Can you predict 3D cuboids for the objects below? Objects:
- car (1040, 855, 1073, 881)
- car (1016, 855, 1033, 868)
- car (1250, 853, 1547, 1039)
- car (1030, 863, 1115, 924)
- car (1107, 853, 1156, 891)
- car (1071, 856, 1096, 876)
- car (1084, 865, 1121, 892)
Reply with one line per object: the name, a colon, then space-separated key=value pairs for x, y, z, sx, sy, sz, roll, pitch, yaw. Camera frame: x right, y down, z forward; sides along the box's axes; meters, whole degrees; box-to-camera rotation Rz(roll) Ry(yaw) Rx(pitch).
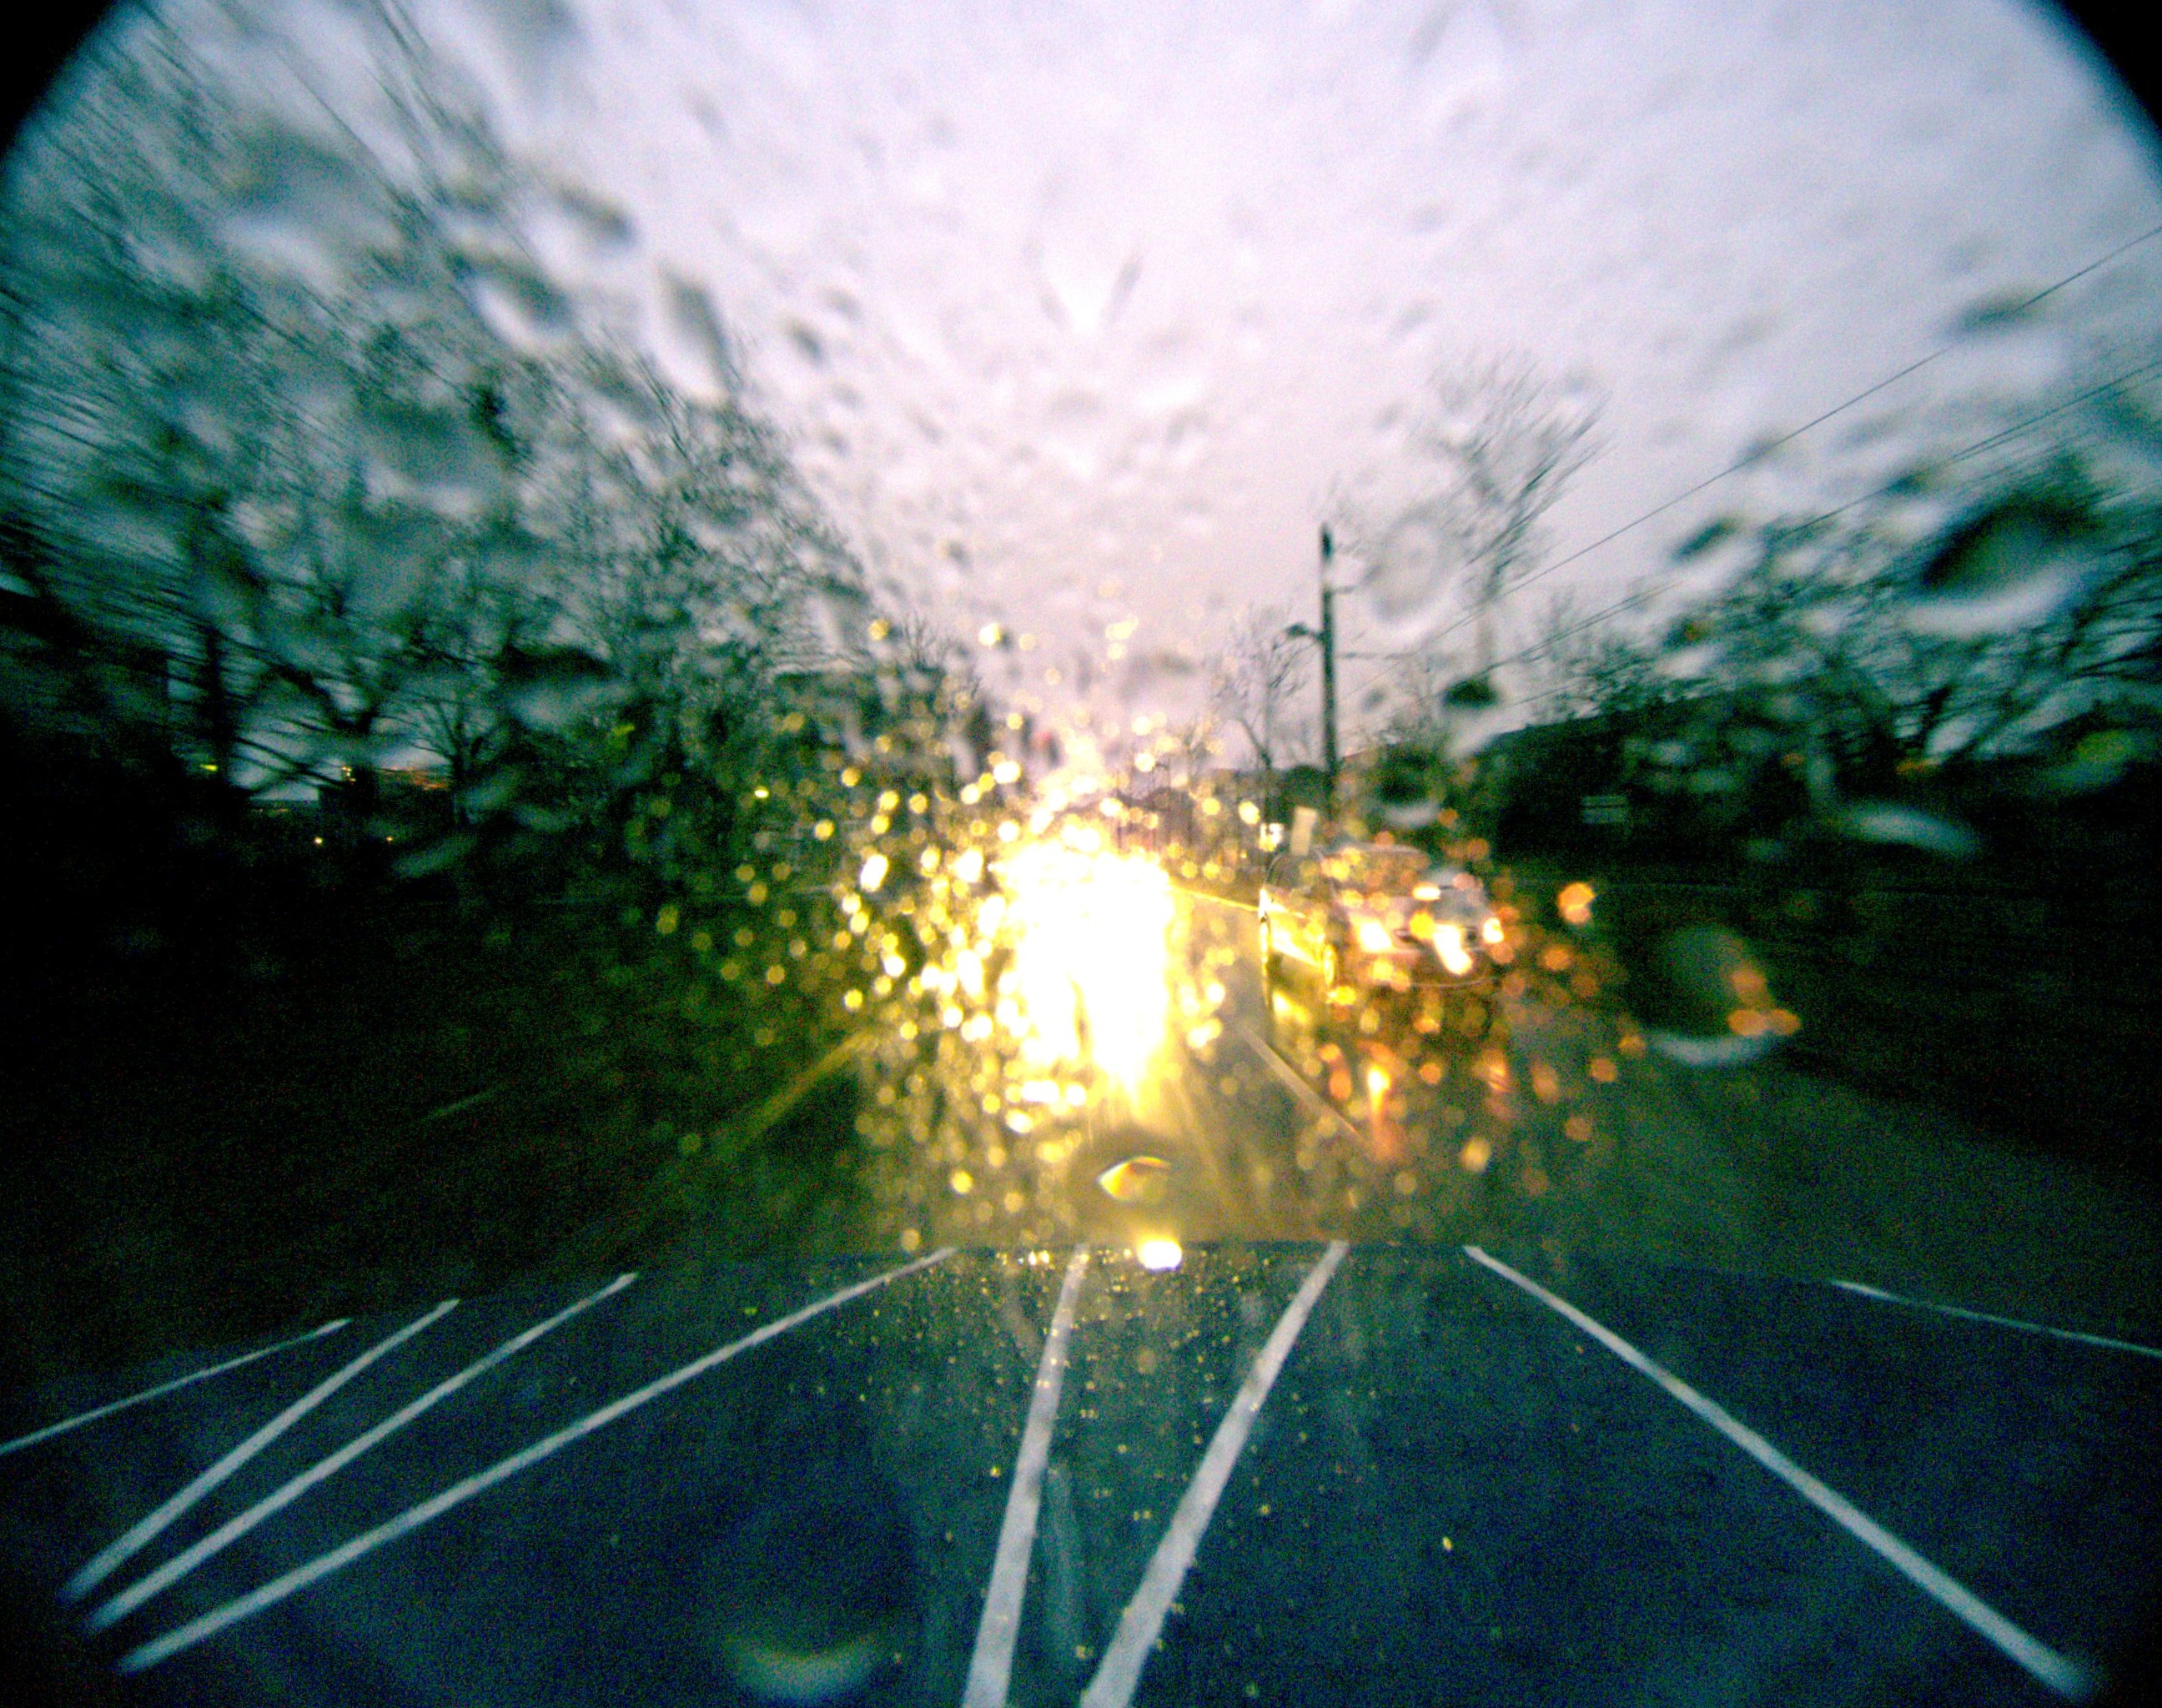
car: x=-1.576 y=0.860 z=48.384 sx=1.950 sy=1.546 sz=4.216 roll=-3 pitch=0 yaw=-3
car: x=-7.760 y=1.033 z=103.739 sx=1.951 sy=1.546 sz=4.214 roll=-3 pitch=0 yaw=-9
car: x=3.232 y=0.813 z=8.656 sx=1.669 sy=1.566 sz=3.922 roll=-3 pitch=0 yaw=0
car: x=-0.329 y=0.936 z=19.636 sx=1.897 sy=1.347 sz=4.288 roll=-1 pitch=0 yaw=-5
car: x=2.256 y=0.779 z=34.900 sx=1.924 sy=1.546 sz=4.217 roll=-3 pitch=0 yaw=0
car: x=0.180 y=0.997 z=65.913 sx=1.950 sy=1.546 sz=4.216 roll=-3 pitch=0 yaw=-2
car: x=1.331 y=1.546 z=49.425 sx=1.845 sy=1.546 sz=4.215 roll=-3 pitch=0 yaw=-5
